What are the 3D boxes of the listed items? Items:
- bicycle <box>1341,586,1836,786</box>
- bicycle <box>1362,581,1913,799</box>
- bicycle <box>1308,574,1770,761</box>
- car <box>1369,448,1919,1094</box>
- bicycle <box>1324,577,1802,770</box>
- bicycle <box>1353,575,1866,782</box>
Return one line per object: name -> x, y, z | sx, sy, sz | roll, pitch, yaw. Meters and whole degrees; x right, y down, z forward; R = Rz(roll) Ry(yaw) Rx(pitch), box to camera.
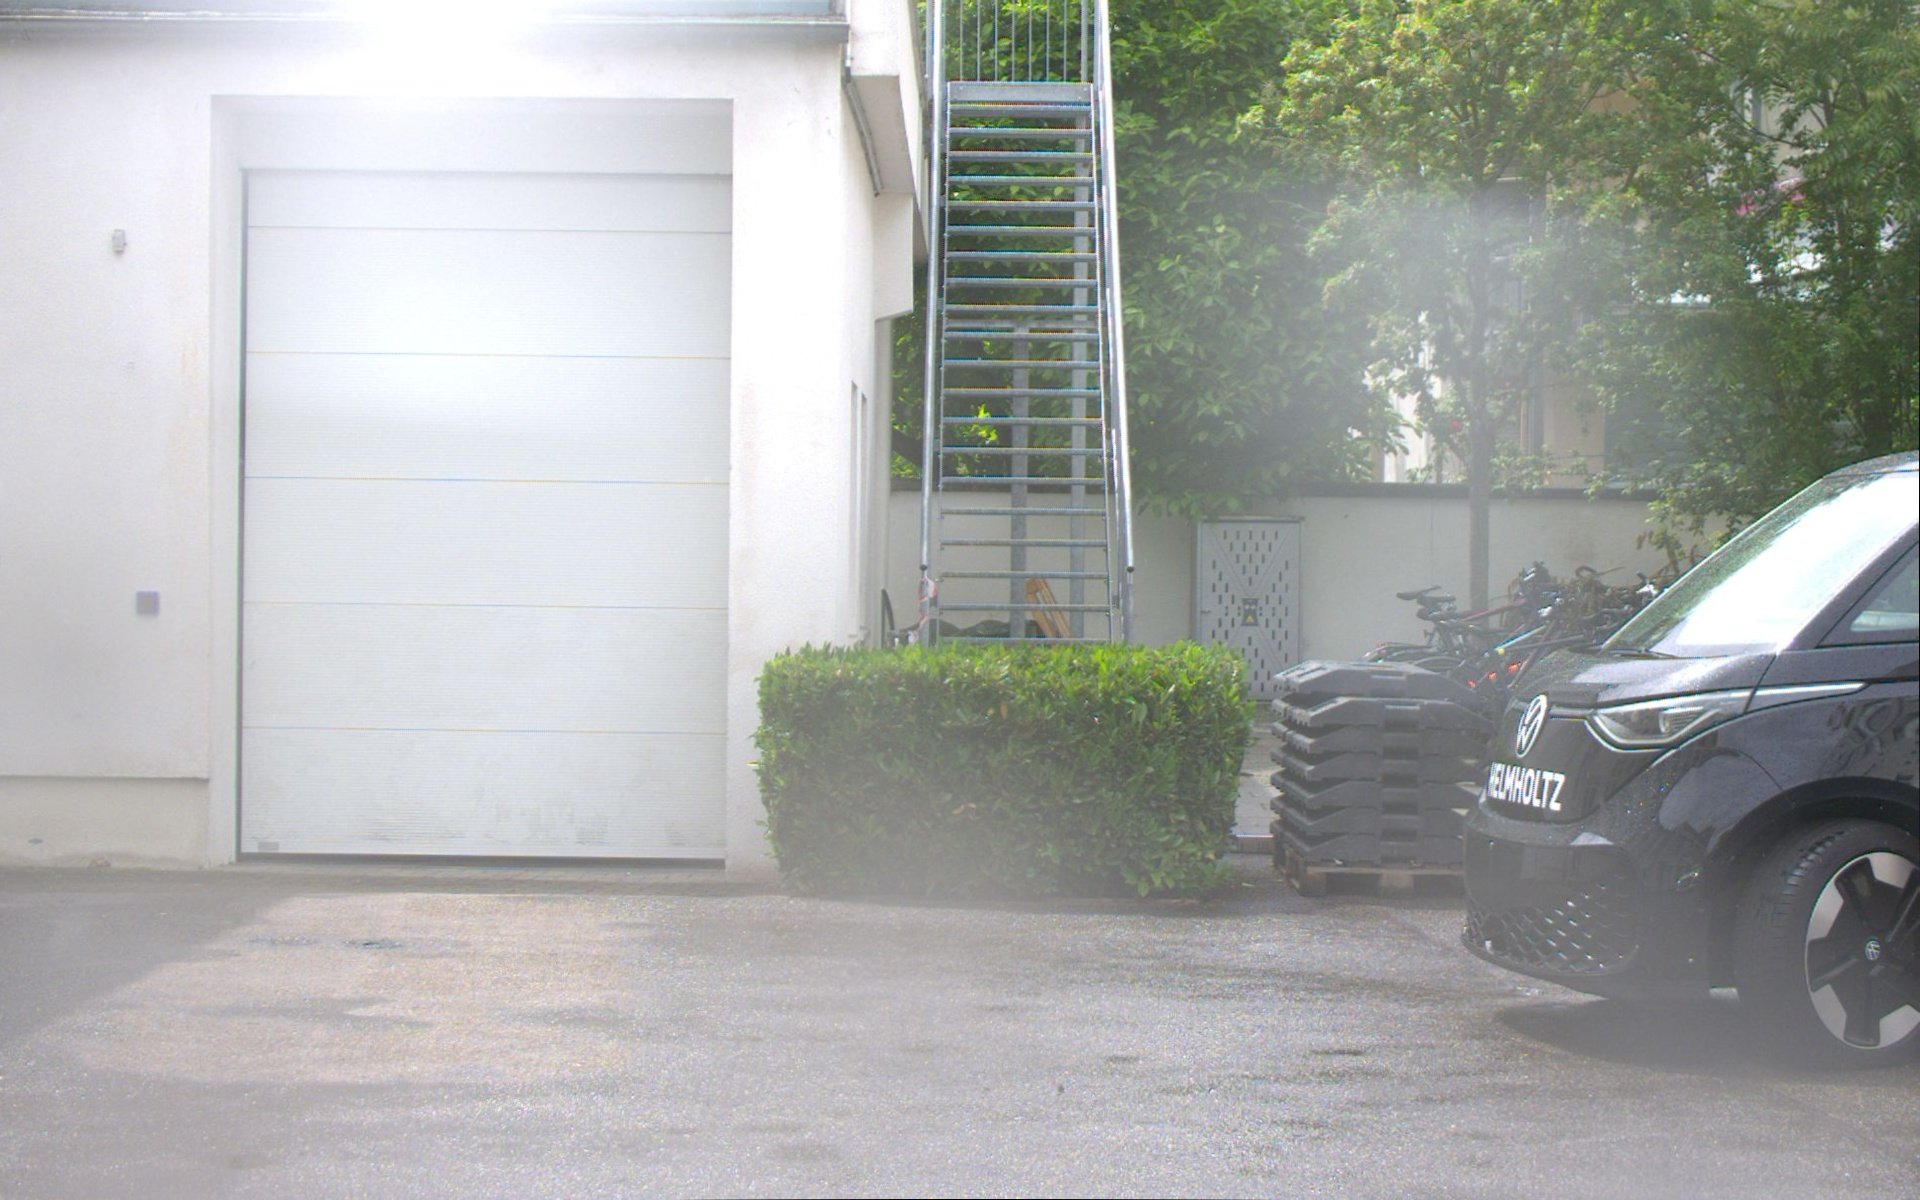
bicycle -> 3.817, 0.519, 21.001 | 2.843, 1.074, 0.689 | 2, 2, -3
bicycle -> 3.797, 0.501, 19.387 | 2.923, 1.074, 0.689 | 2, 2, -3
bicycle -> 3.756, 0.434, 22.418 | 2.843, 1.074, 0.689 | 2, 2, -3
car -> 3.867, 0.446, 11.038 | 4.708, 1.827, 2.111 | 0, 1, -6
bicycle -> 3.788, 0.455, 21.714 | 2.843, 1.074, 0.689 | 2, 2, -3
bicycle -> 3.810, 0.454, 20.274 | 2.843, 1.074, 0.689 | 2, 2, -3
